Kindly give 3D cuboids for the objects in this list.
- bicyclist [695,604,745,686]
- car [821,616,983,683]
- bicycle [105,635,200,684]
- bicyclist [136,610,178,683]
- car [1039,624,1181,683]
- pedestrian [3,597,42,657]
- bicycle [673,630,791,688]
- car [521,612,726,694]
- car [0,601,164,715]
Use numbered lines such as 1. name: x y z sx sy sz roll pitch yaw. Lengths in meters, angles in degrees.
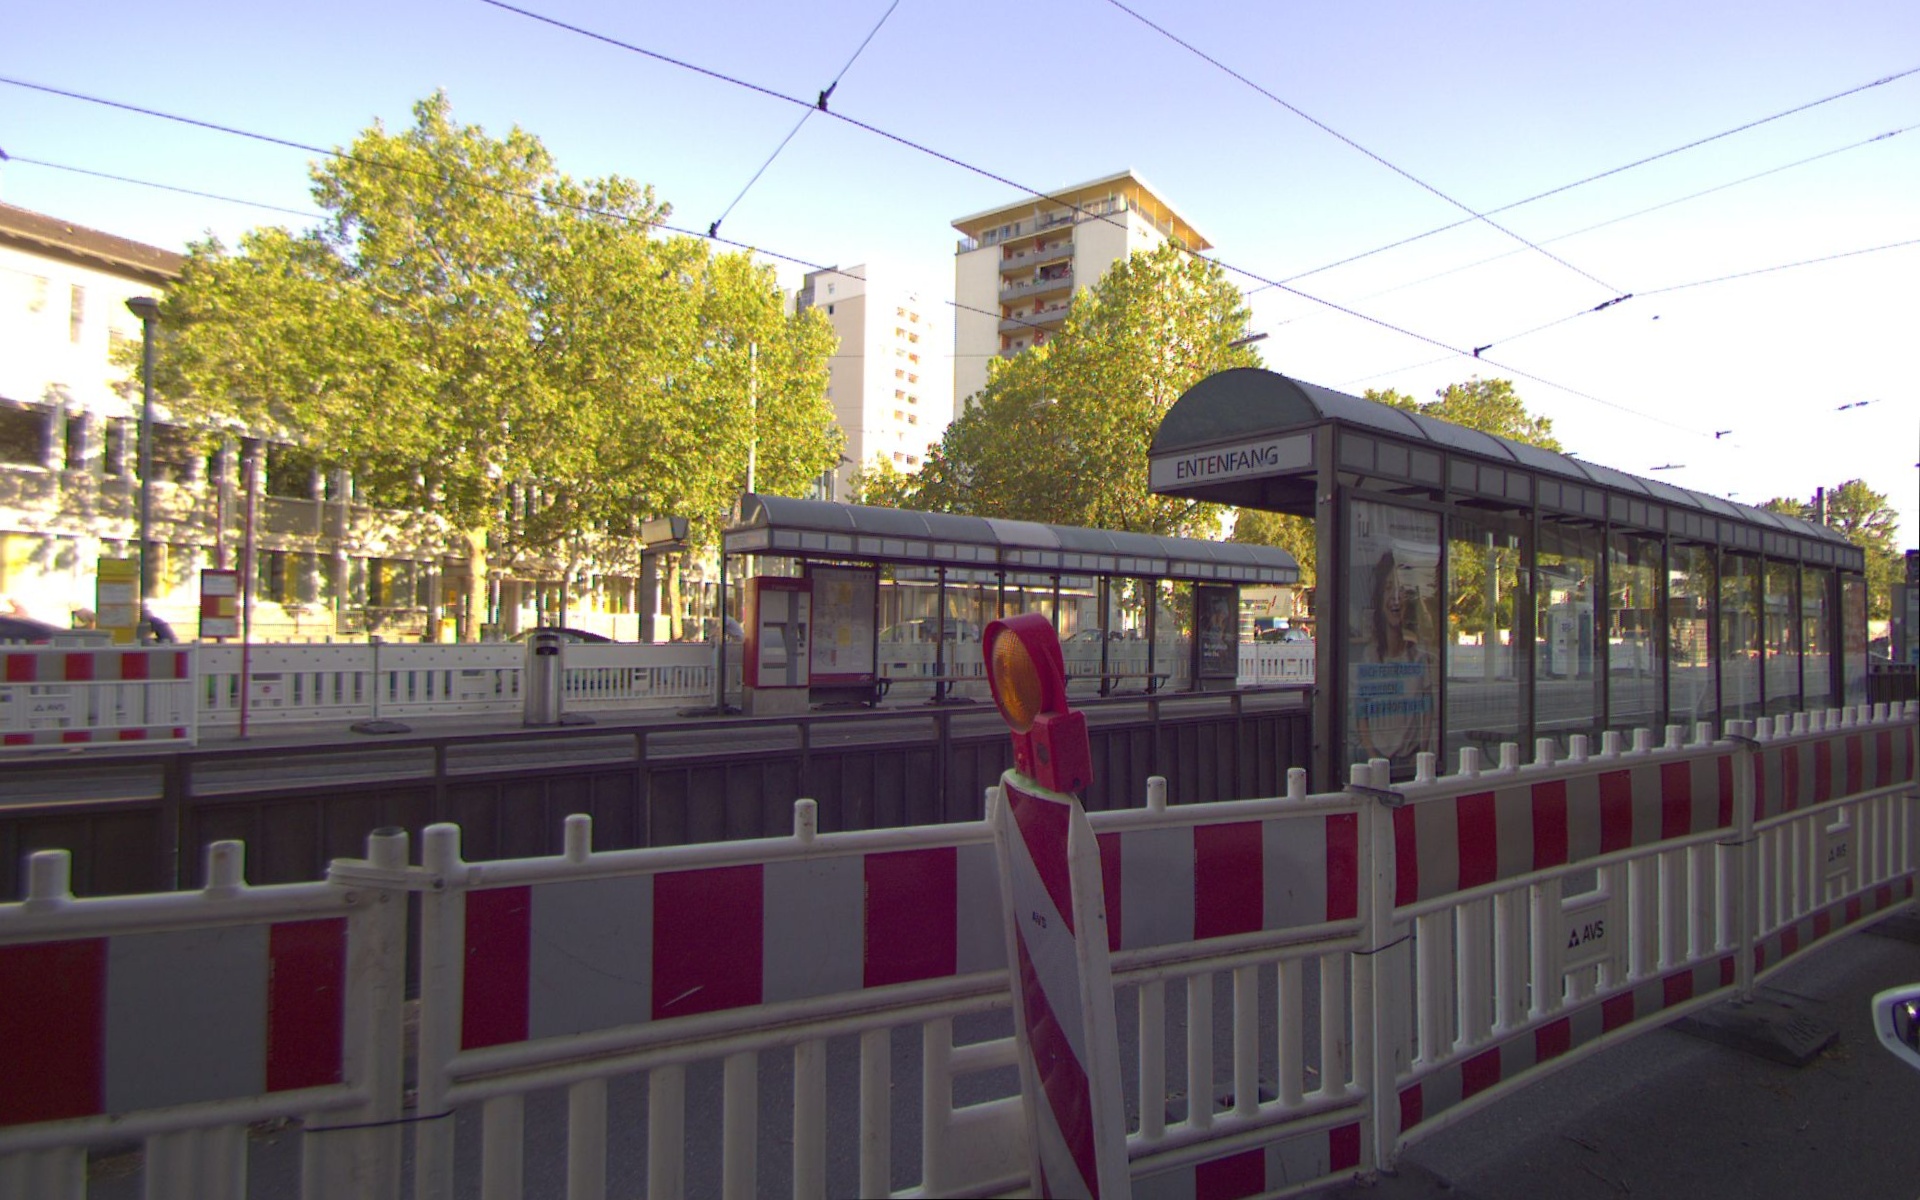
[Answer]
1. bicyclist: -5.263 0.976 22.030 0.826 1.751 0.728 2 -2 -35
2. car: -1.546 1.304 27.149 3.959 1.683 1.901 2 -2 -34
3. bicycle: -18.346 1.335 22.861 1.603 1.079 0.546 2 -2 -31
4. bicyclist: -18.299 1.053 22.896 0.636 1.635 0.547 1 -1 -30
5. car: 4.572 1.597 30.505 3.958 1.683 1.982 2 -2 -33
6. pedestrian: -23.481 0.671 25.158 0.577 1.474 0.583 0 -2 38
7. bicycle: -4.991 1.280 22.136 2.456 1.223 0.685 2 -2 -36
8. car: -7.476 1.154 22.407 3.958 1.683 1.982 2 -2 -33
9. car: -15.305 0.866 15.492 4.511 1.683 1.982 2 -2 -34
